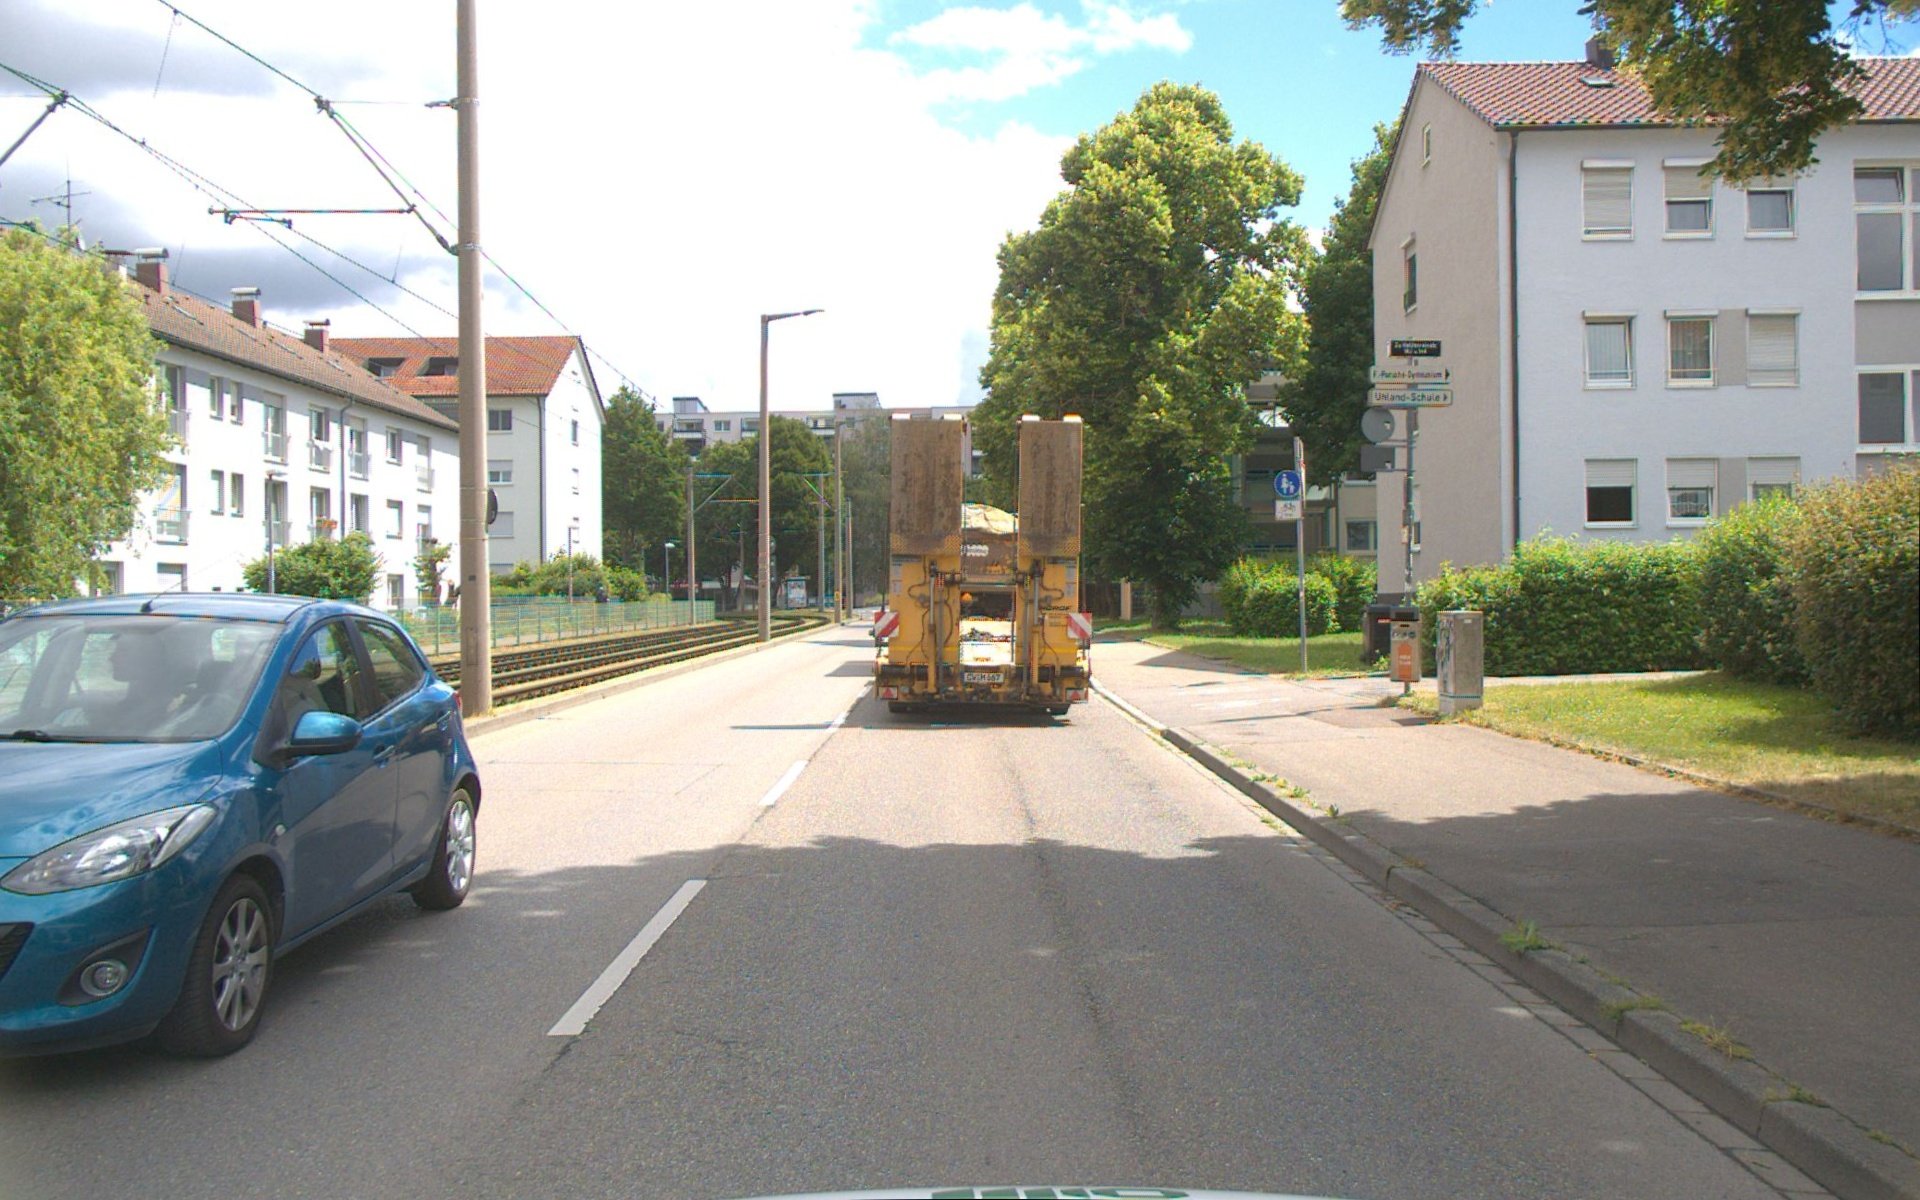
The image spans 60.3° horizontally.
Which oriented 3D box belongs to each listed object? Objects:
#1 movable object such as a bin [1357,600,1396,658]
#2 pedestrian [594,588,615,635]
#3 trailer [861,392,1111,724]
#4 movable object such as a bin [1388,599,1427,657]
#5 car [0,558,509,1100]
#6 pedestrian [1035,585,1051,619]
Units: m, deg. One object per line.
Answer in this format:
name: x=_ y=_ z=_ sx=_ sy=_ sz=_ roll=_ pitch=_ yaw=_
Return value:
movable object such as a bin: x=7.153 y=0.497 z=28.416 sx=0.486 sy=0.971 sz=0.580 roll=-2 pitch=0 yaw=0
pedestrian: x=-14.342 y=0.472 z=66.744 sx=0.645 sy=1.881 sz=0.768 roll=-2 pitch=0 yaw=0
trailer: x=0.071 y=-0.492 z=24.901 sx=2.770 sy=3.709 sz=12.348 roll=1 pitch=0 yaw=-2
movable object such as a bin: x=7.683 y=0.474 z=28.417 sx=0.490 sy=0.964 sz=0.551 roll=-2 pitch=0 yaw=0
car: x=-3.049 y=0.648 z=6.527 sx=1.590 sy=1.552 sz=3.581 roll=0 pitch=0 yaw=-1
pedestrian: x=4.283 y=0.095 z=85.317 sx=0.703 sy=1.736 sz=0.766 roll=-2 pitch=0 yaw=0
